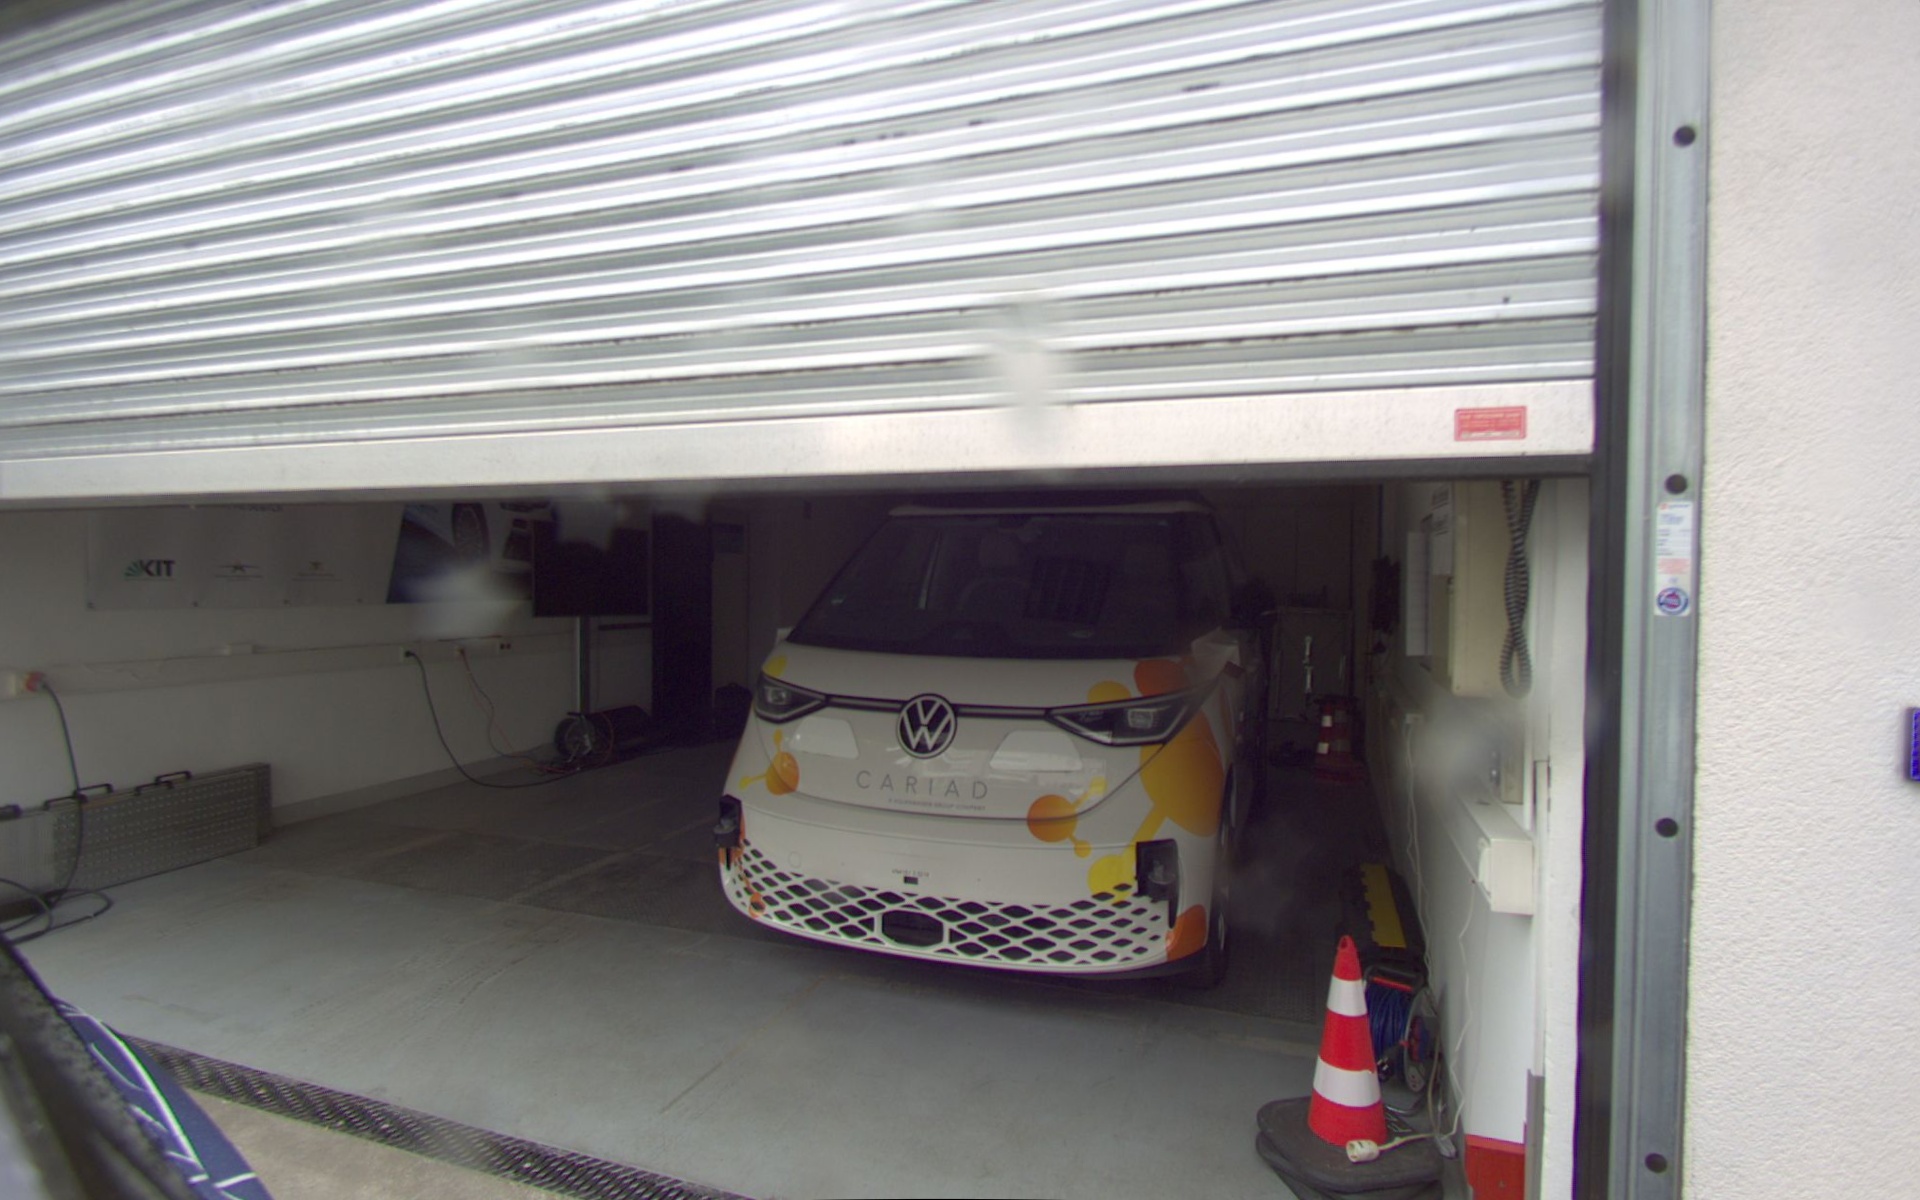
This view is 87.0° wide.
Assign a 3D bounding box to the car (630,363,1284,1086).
[{"bbox_3d":[0.580,0.270,5.394,2.068,2.028,4.676,1,2,19],"label":"car"}]
